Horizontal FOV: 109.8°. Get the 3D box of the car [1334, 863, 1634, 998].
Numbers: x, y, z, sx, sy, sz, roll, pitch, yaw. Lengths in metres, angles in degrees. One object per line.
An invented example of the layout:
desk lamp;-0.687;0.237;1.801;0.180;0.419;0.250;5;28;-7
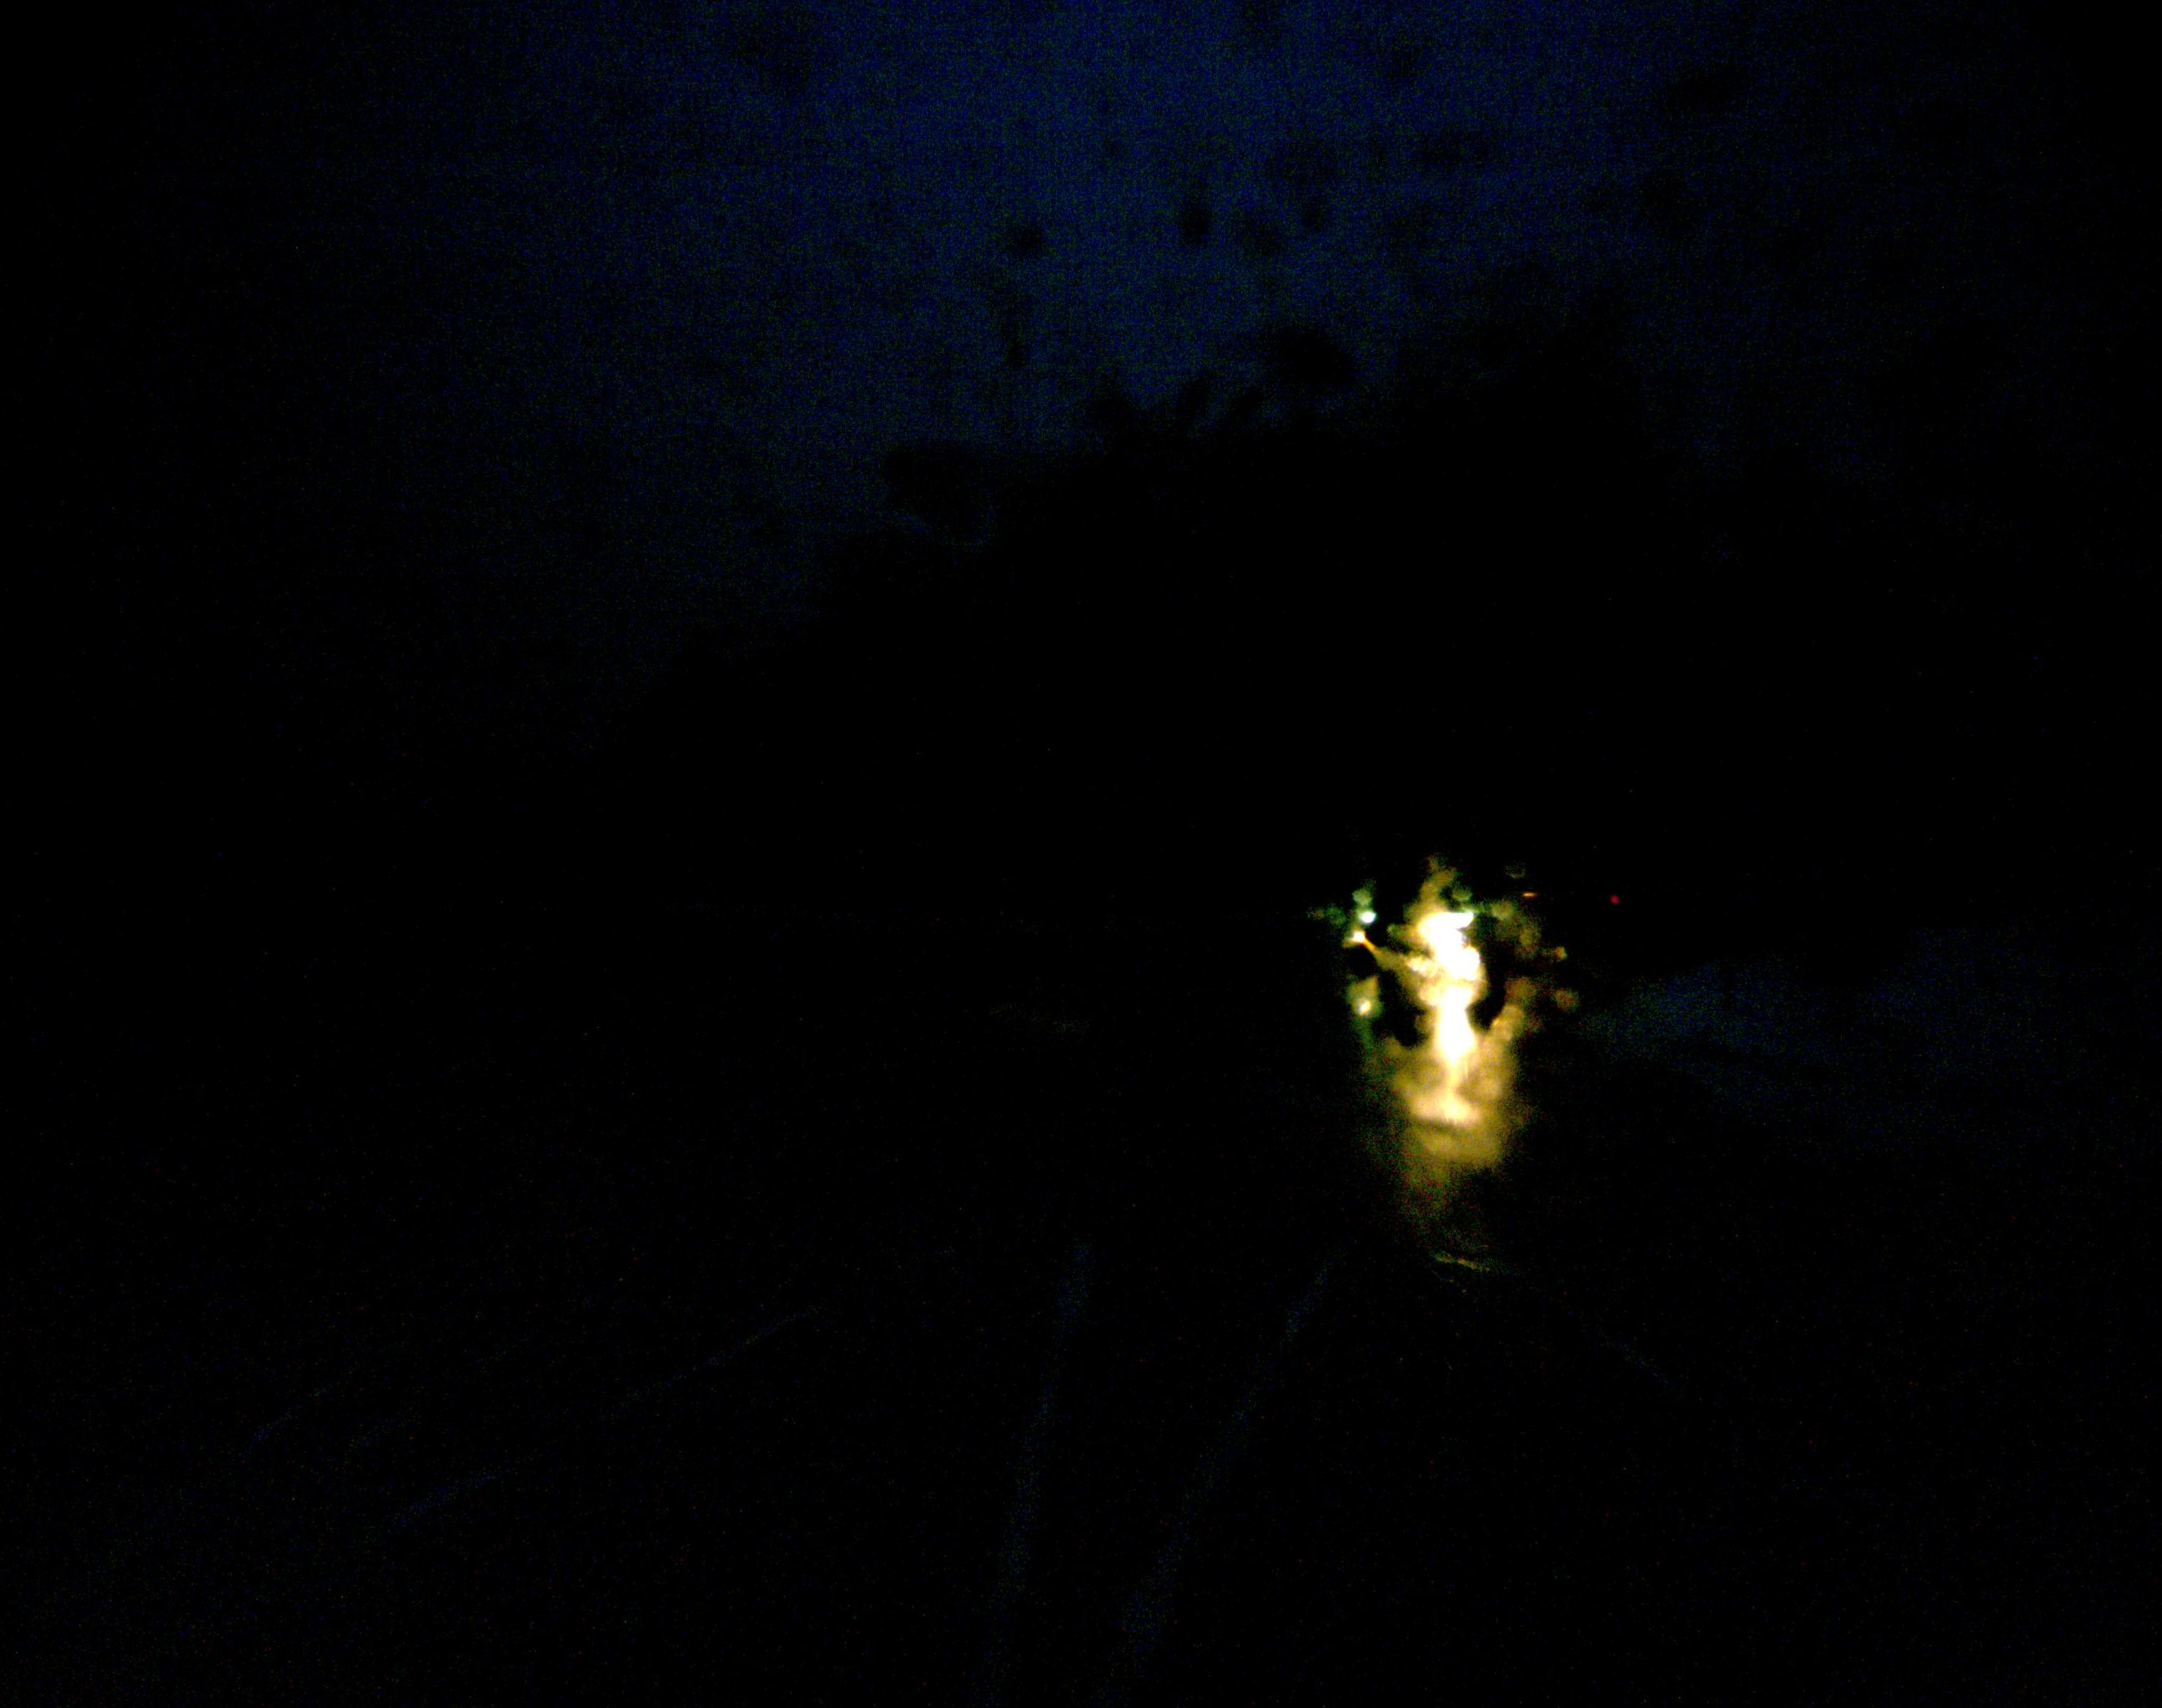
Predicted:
car;5.419;0.887;10.199;3.681;1.426;1.723;-2;0;-27
